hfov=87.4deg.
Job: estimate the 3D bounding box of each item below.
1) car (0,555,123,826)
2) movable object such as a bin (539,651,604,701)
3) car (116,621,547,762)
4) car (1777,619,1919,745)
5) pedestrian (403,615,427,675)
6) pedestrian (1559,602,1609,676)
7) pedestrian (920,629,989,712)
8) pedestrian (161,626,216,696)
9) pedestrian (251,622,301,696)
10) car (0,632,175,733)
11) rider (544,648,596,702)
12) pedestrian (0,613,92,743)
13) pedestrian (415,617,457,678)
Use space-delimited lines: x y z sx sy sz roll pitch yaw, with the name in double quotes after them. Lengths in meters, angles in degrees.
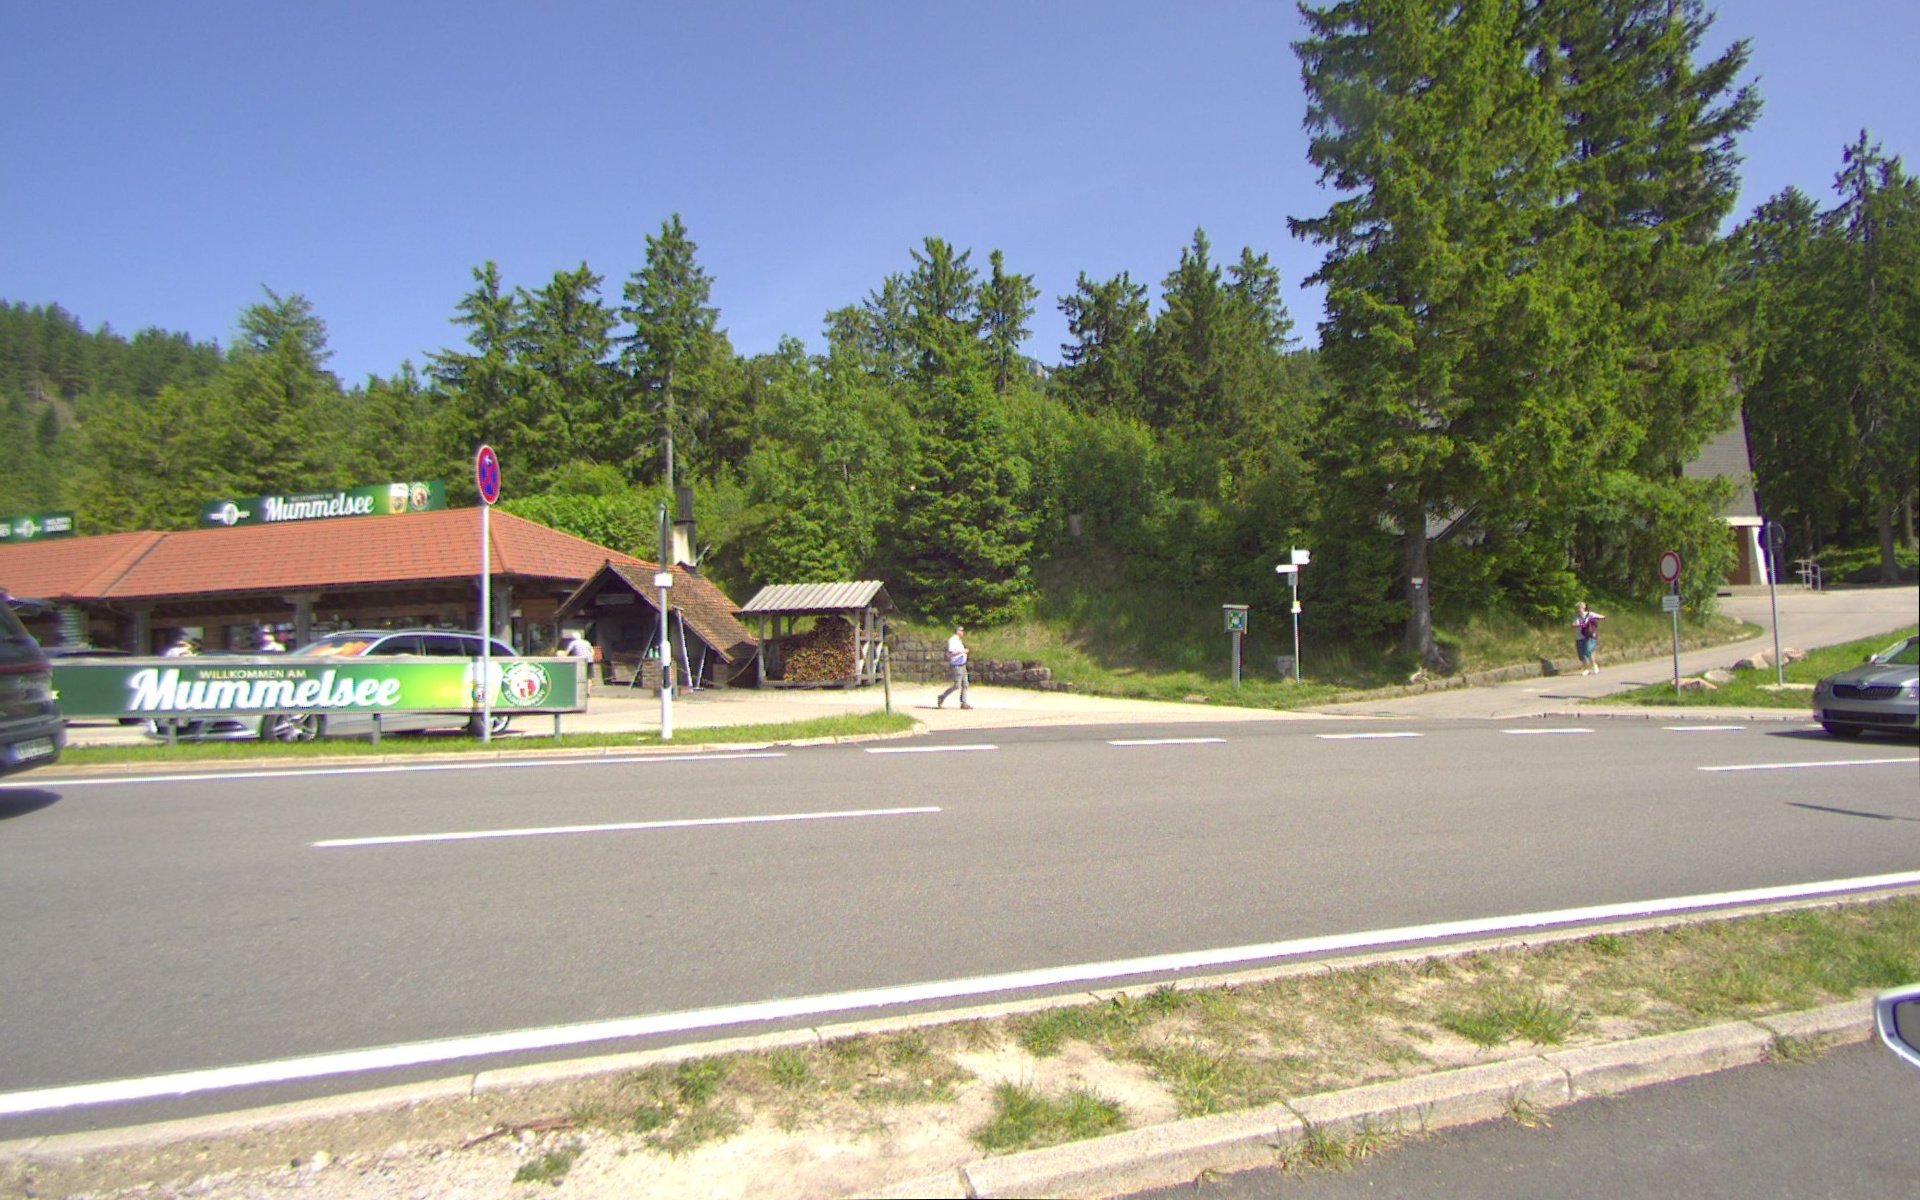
-8.256 0.554 6.028 4.500 1.669 1.990 1 -2 -22 "car"
-9.690 1.874 25.085 1.195 1.204 0.982 -1 -2 31 "movable object such as a bin"
-7.585 1.070 12.745 1.689 1.449 4.503 -1 -3 21 "car"
13.492 1.024 13.316 4.638 1.494 1.879 1 -1 -17 "car"
-16.176 1.332 29.823 0.548 1.760 0.668 1 -2 -24 "pedestrian"
14.710 0.919 23.691 0.673 1.703 0.718 1 -2 -23 "pedestrian"
-0.115 1.498 21.527 1.143 1.720 0.976 -2 -3 34 "pedestrian"
-22.751 1.784 29.629 0.945 2.040 0.856 0 -2 16 "pedestrian"
-19.311 1.654 28.381 0.909 2.040 0.724 0 -2 15 "pedestrian"
-17.196 1.514 18.974 4.015 1.738 1.920 -1 -3 22 "car"
-9.745 1.856 25.105 0.893 1.291 0.838 -1 -2 31 "rider"
-12.278 1.018 13.356 0.830 1.657 0.747 -1 -2 18 "pedestrian"
-15.305 1.376 29.342 0.789 1.760 0.748 -1 -2 31 "pedestrian"
